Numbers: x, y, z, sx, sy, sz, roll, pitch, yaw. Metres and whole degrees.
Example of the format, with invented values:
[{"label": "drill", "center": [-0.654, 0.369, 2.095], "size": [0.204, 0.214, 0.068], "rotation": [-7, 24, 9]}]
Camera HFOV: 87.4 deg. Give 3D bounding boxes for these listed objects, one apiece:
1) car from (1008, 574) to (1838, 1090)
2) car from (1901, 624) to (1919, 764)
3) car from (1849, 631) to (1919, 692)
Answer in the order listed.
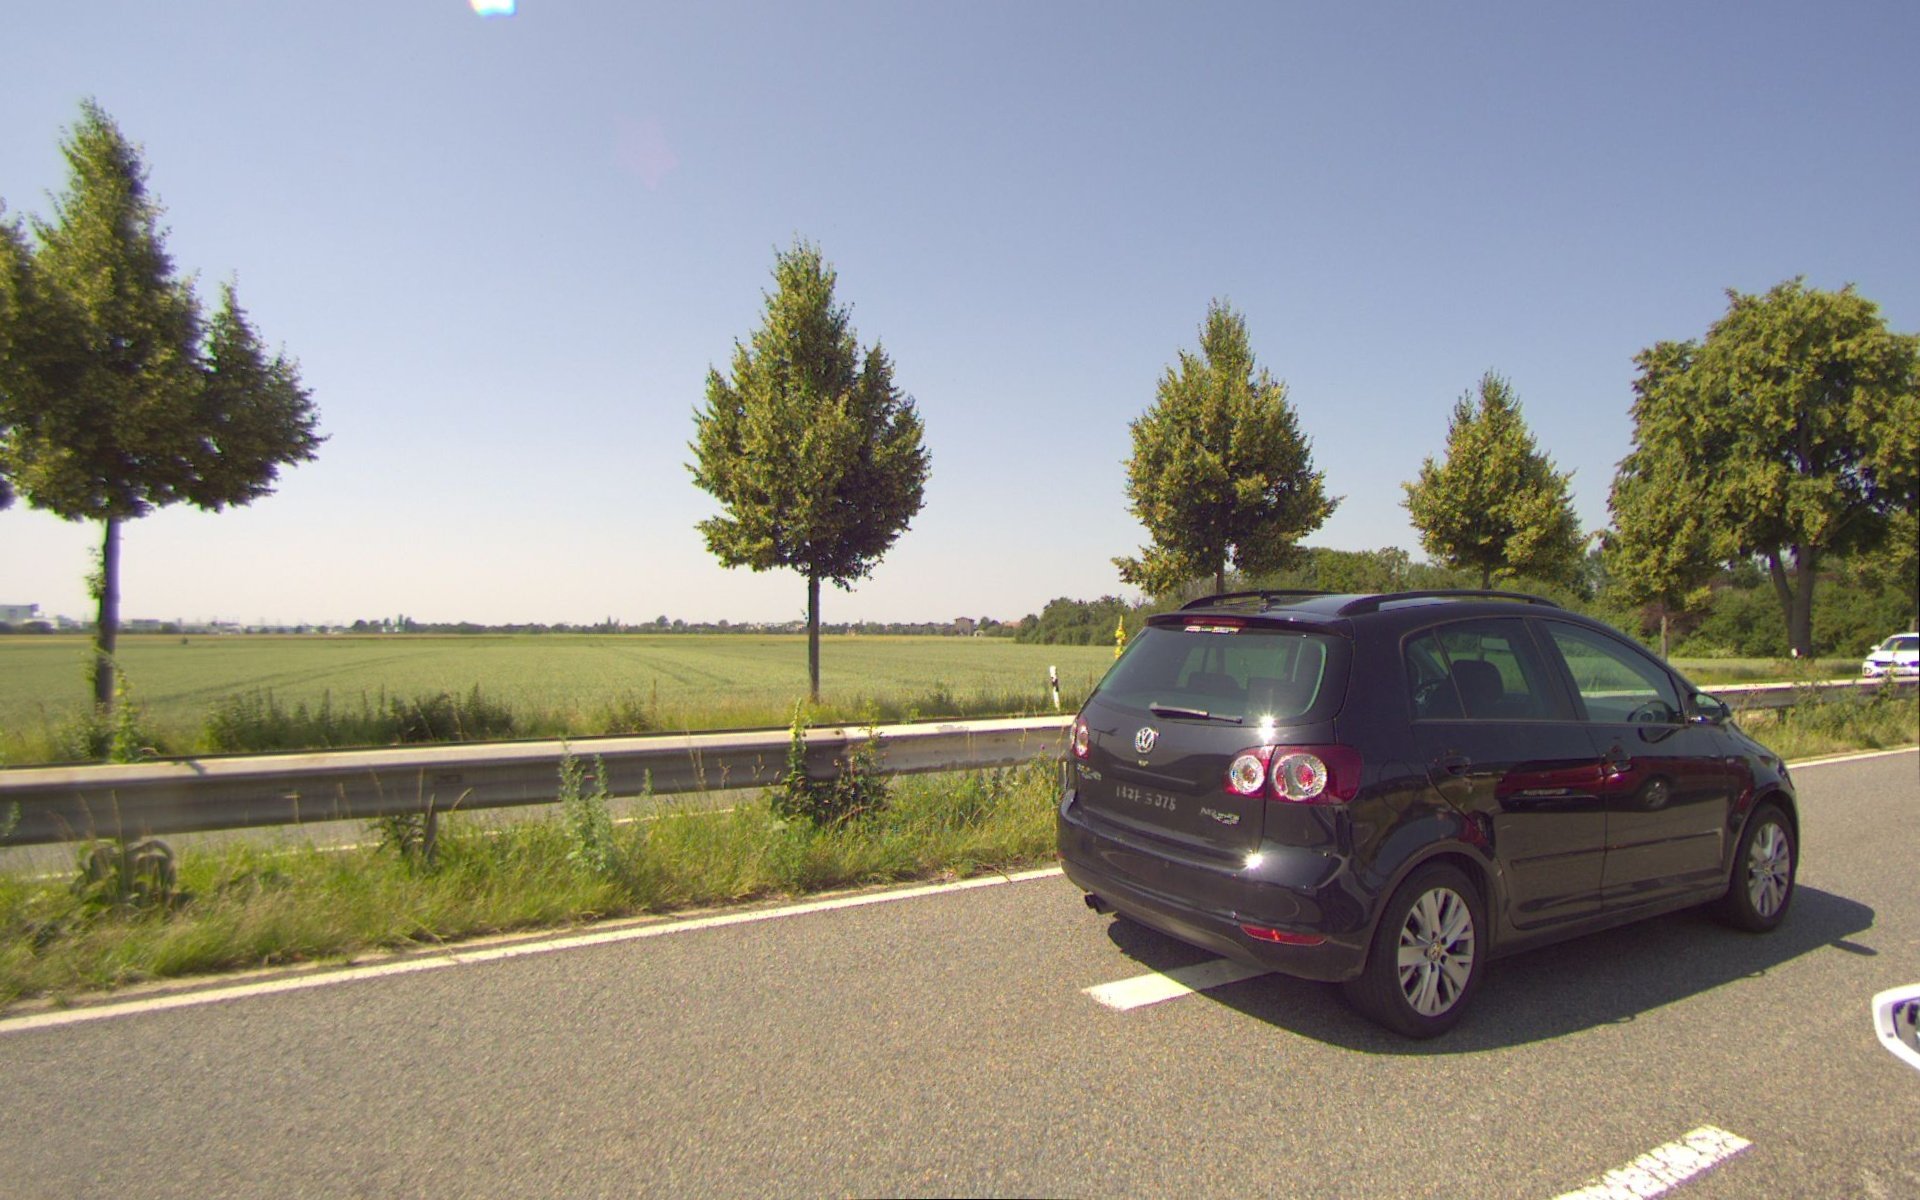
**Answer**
[{"label": "car", "center": [2.308, 0.747, 4.823], "size": [3.846, 1.597, 1.715], "rotation": [1, 0, -30]}, {"label": "car", "center": [12.115, 1.016, 10.908], "size": [3.908, 1.461, 1.694], "rotation": [1, 0, -30]}, {"label": "car", "center": [27.233, 1.701, 28.666], "size": [4.091, 1.639, 1.736], "rotation": [1, -2, -33]}]
